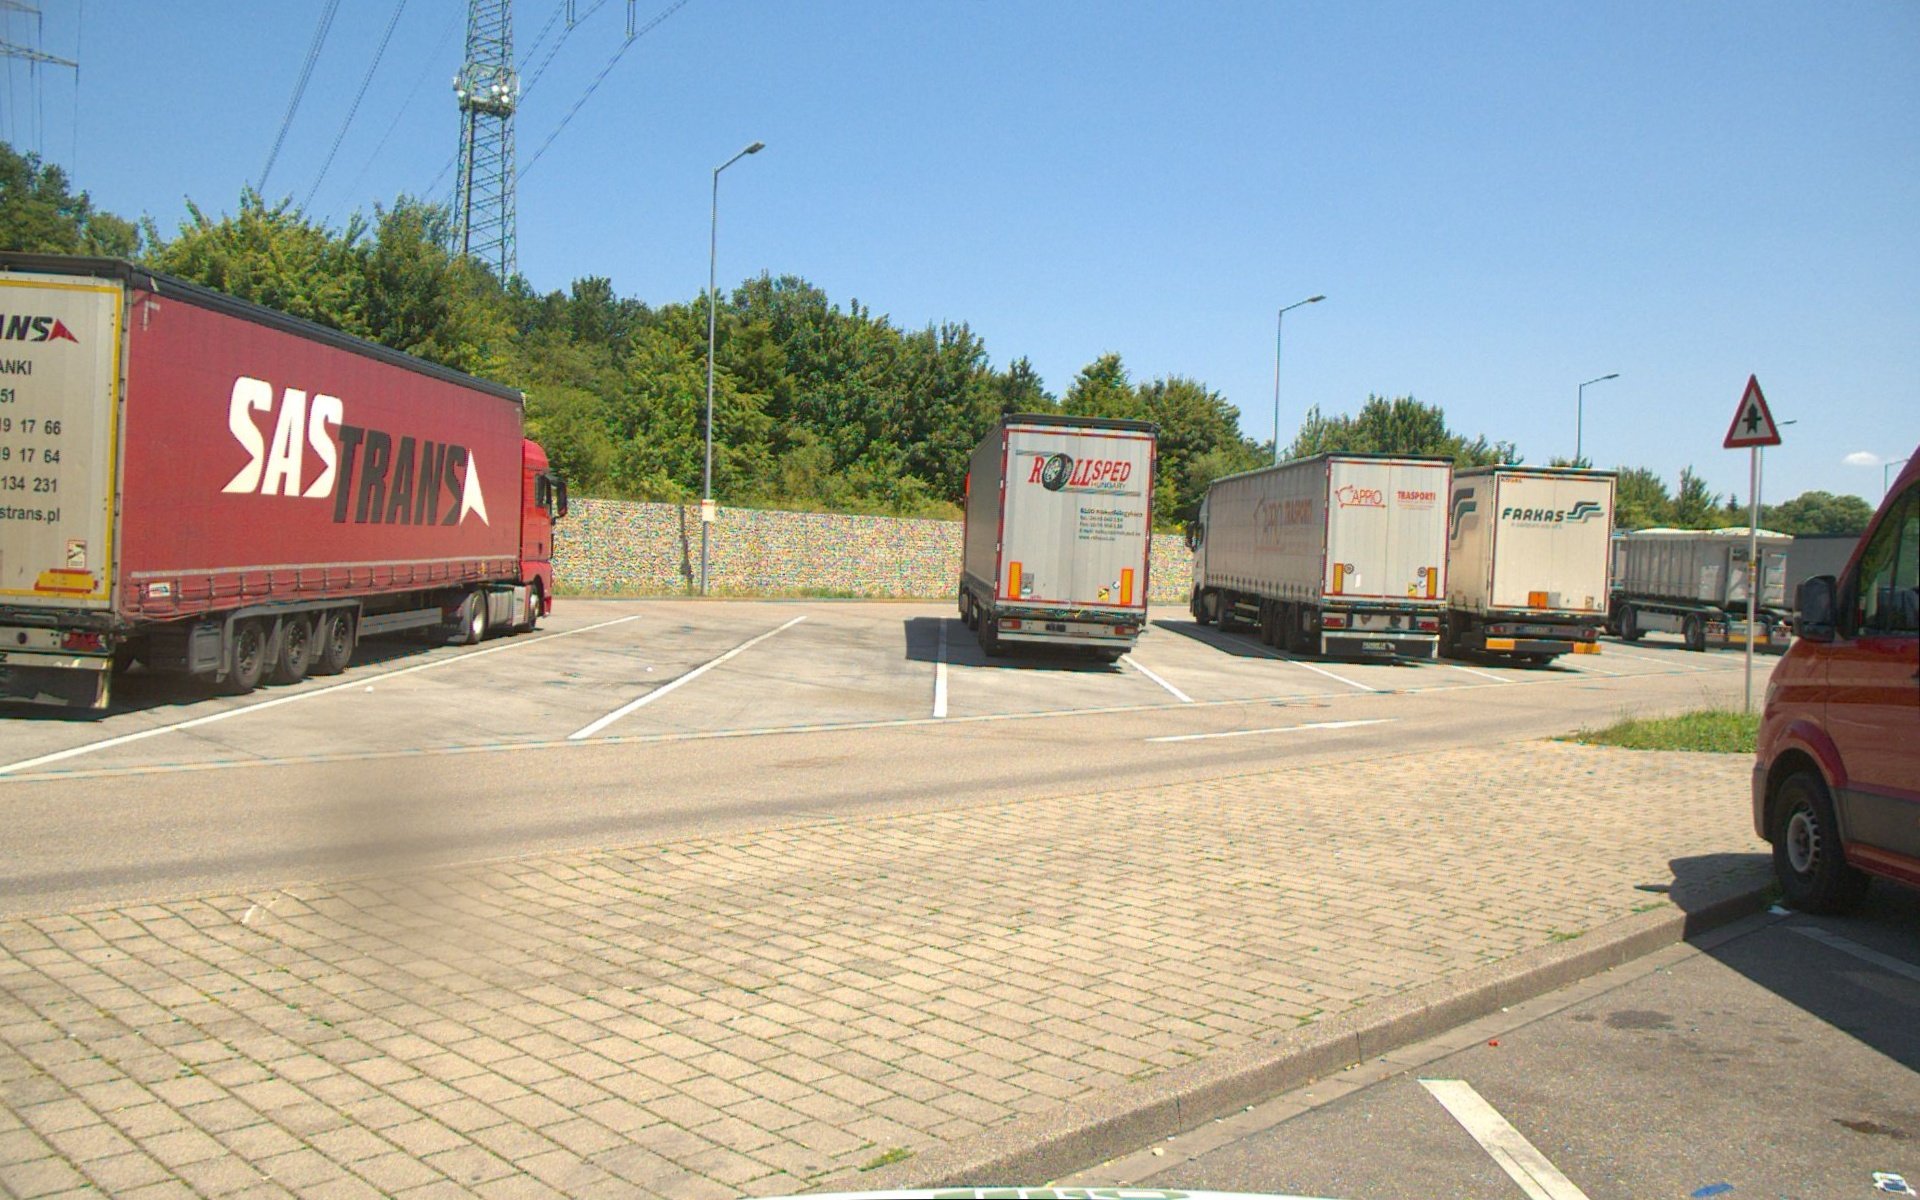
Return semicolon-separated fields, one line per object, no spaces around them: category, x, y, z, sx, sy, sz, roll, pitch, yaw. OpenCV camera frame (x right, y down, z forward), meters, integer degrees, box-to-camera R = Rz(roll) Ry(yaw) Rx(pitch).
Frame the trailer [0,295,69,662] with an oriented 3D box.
trailer;-12.524;-1.313;15.703;2.673;4.282;10.170;2;2;-1

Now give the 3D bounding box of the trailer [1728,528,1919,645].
trailer;34.944;-0.634;65.407;2.780;4.119;13.726;3;2;1

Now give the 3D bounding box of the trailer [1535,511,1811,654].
trailer;21.931;-0.678;52.204;2.780;3.781;13.726;3;2;1

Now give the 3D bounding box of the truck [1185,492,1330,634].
truck;8.099;-1.036;45.636;2.794;3.544;5.482;2;2;-1

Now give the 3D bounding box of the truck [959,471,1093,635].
truck;1.484;-1.144;39.847;2.794;3.544;5.482;2;2;-1

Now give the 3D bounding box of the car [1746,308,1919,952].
car;5.009;0.164;5.558;2.023;2.742;6.397;1;1;4

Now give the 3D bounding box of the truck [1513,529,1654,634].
truck;22.012;-0.709;58.709;2.794;3.423;5.484;3;2;0

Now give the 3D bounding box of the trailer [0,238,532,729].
trailer;-8.678;-1.300;21.186;2.848;4.203;13.723;2;2;-1

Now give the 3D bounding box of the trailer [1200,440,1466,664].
trailer;8.213;-1.136;38.826;2.781;4.204;13.722;2;2;-1

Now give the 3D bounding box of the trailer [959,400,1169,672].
trailer;1.652;-1.231;33.238;2.848;4.204;13.720;2;2;-1

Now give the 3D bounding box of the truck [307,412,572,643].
truck;-8.791;-1.210;28.622;2.794;3.487;5.482;2;2;-1

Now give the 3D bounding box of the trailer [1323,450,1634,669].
trailer;11.772;-1.014;39.631;2.781;4.204;13.722;2;2;-1

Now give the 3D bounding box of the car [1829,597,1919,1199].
car;2.597;0.798;1.154;1.703;1.508;3.813;1;1;-6
